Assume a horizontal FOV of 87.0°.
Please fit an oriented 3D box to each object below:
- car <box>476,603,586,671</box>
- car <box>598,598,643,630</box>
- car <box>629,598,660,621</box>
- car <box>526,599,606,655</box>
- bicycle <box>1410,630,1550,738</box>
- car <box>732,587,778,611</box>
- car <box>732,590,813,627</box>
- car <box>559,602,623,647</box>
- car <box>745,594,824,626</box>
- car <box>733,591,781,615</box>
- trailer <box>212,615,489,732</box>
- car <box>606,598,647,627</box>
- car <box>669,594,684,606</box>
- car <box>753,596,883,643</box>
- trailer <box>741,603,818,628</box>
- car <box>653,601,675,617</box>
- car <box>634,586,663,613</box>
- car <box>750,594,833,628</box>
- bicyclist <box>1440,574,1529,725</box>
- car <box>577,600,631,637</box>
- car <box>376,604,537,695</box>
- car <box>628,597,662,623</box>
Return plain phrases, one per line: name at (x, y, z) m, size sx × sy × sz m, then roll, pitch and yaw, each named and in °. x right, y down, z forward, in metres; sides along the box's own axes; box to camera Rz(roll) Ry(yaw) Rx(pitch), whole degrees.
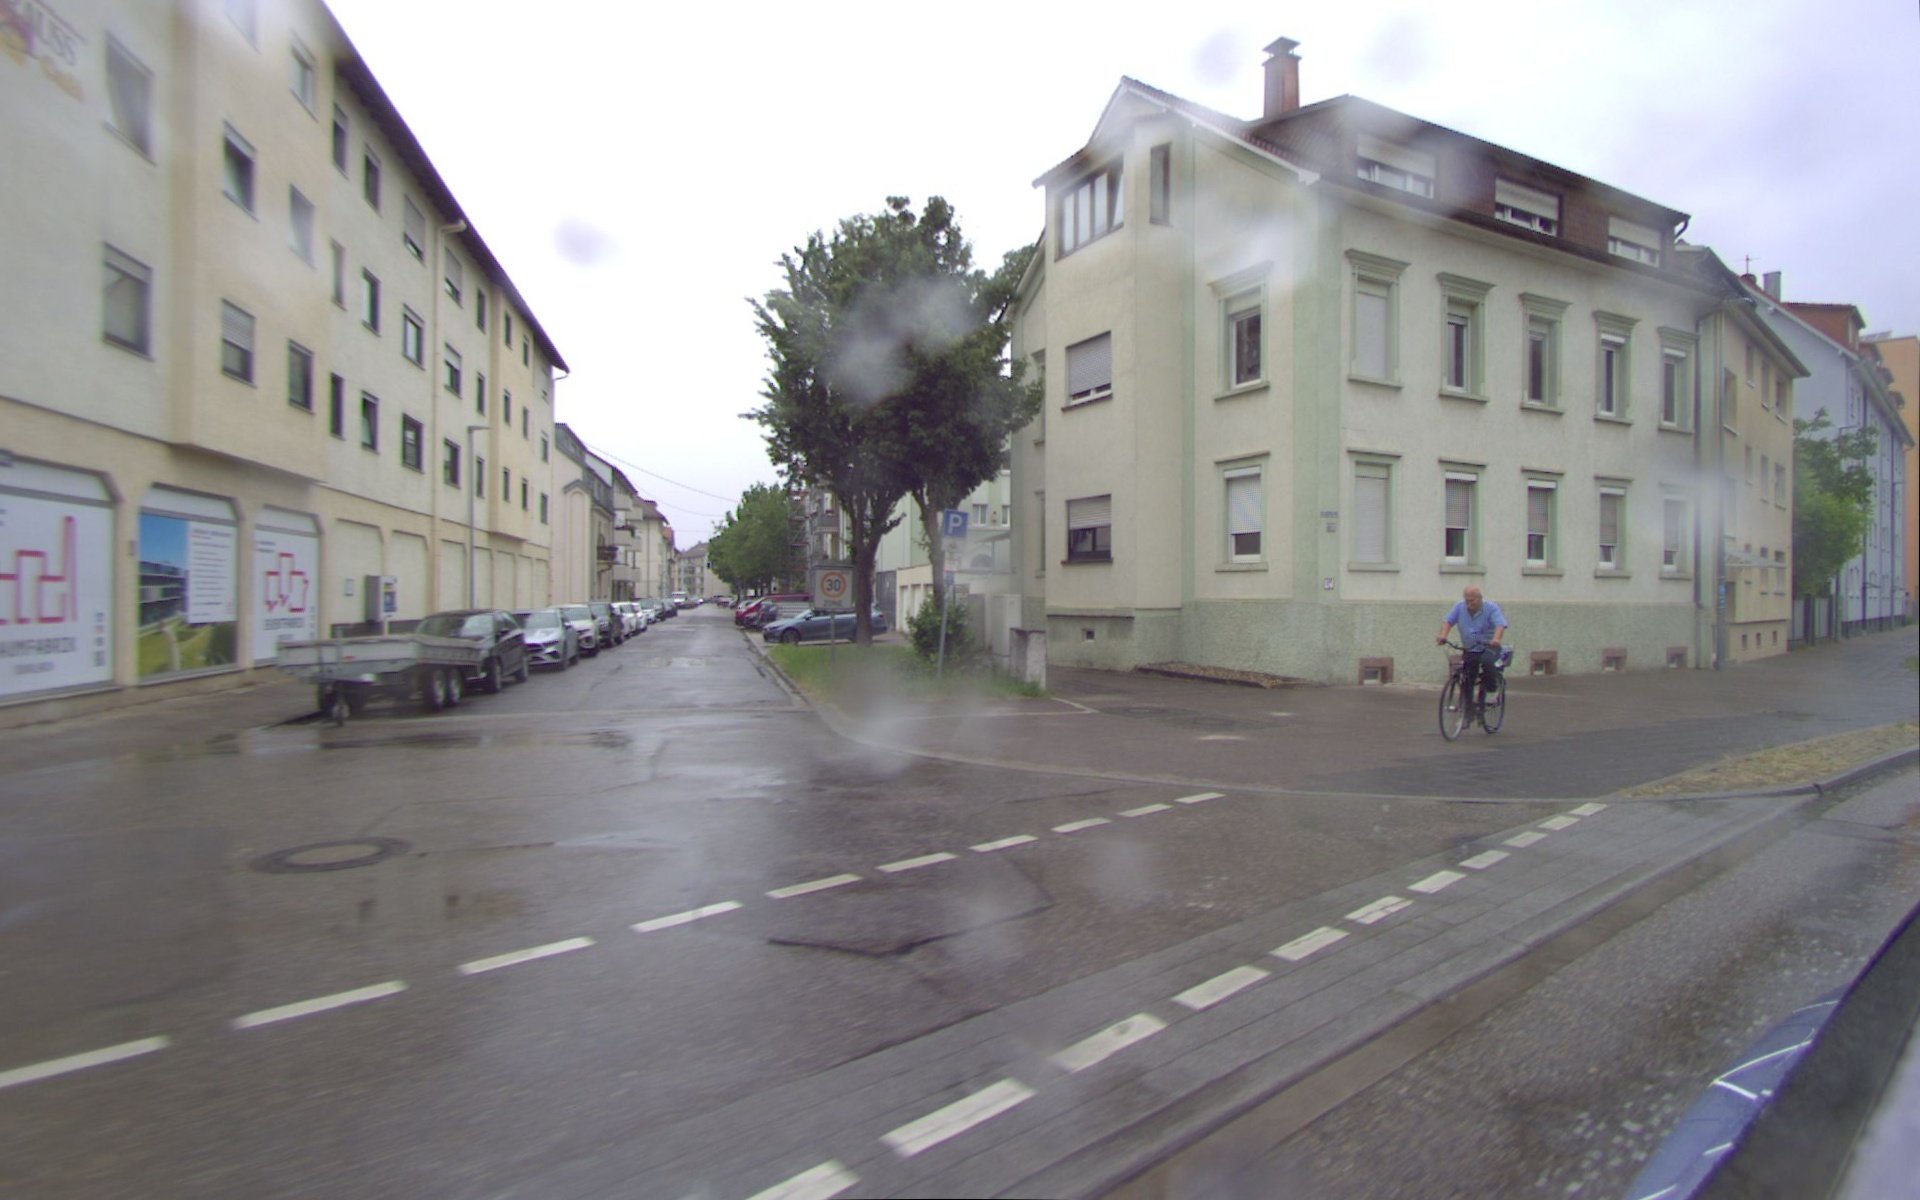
car at (-10.024, 0.796, 23.925) m, size 1.702 × 1.421 × 4.187 m, roll -1°, pitch 0°, yaw -13°
car at (-15.626, 0.603, 46.711) m, size 1.701 × 1.406 × 3.716 m, roll -1°, pitch 0°, yaw -14°
car at (-20.211, 0.594, 64.977) m, size 1.701 × 1.406 × 3.716 m, roll -1°, pitch 0°, yaw -14°
car at (-11.621, 0.736, 30.049) m, size 1.701 × 1.535 × 4.187 m, roll -1°, pitch 0°, yaw -14°
bicycle at (5.820, 0.894, 11.285) m, size 1.936 × 1.073 × 0.674 m, roll 1°, pitch -1°, yaw -39°
car at (-18.402, -0.083, 90.841) m, size 3.916 × 2.039 × 2.004 m, roll -1°, pitch 0°, yaw -16°
car at (-10.833, 0.444, 58.312) m, size 4.369 × 2.039 × 1.741 m, roll -1°, pitch 0°, yaw -19°
car at (-12.851, 0.795, 35.429) m, size 1.701 × 1.446 × 4.187 m, roll -1°, pitch 0°, yaw -14°
car at (-9.245, 0.501, 53.129) m, size 3.916 × 1.606 × 2.004 m, roll 0°, pitch 0°, yaw -14°
car at (-17.449, 0.248, 86.859) m, size 3.916 × 2.039 × 2.004 m, roll -1°, pitch 0°, yaw -16°
trailer at (-8.097, 0.877, 13.989) m, size 1.787 × 1.247 × 4.541 m, roll -1°, pitch 0°, yaw -10°
car at (-16.741, 0.604, 50.993) m, size 1.701 × 1.406 × 3.716 m, roll -1°, pitch 0°, yaw -14°
car at (-36.009, -0.013, 128.555) m, size 1.701 × 1.406 × 3.716 m, roll -1°, pitch 0°, yaw -14°
car at (-5.115, 0.670, 36.448) m, size 4.371 × 1.553 × 1.741 m, roll -1°, pitch 0°, yaw -19°
trailer at (-9.796, 0.831, 54.861) m, size 3.916 × 1.297 × 1.791 m, roll 0°, pitch 0°, yaw -17°
car at (-25.517, 0.759, 87.414) m, size 1.701 × 1.406 × 3.716 m, roll -1°, pitch 0°, yaw -14°
car at (-24.512, -0.054, 79.857) m, size 1.958 × 2.039 × 4.008 m, roll -1°, pitch 0°, yaw -14°
car at (-8.517, 0.536, 51.020) m, size 3.916 × 1.594 × 2.004 m, roll -1°, pitch 0°, yaw -16°
bicyclist at (5.824, 0.529, 11.242) m, size 0.703 × 1.603 × 0.640 m, roll 1°, pitch -1°, yaw -39°
car at (-14.323, 0.714, 40.897) m, size 1.701 × 1.406 × 4.187 m, roll -1°, pitch 0°, yaw -14°
car at (-8.993, 0.801, 18.411) m, size 1.702 × 1.421 × 4.007 m, roll -1°, pitch 0°, yaw -12°
car at (-21.419, 0.663, 68.915) m, size 1.958 × 1.677 × 4.008 m, roll -1°, pitch 0°, yaw -14°
